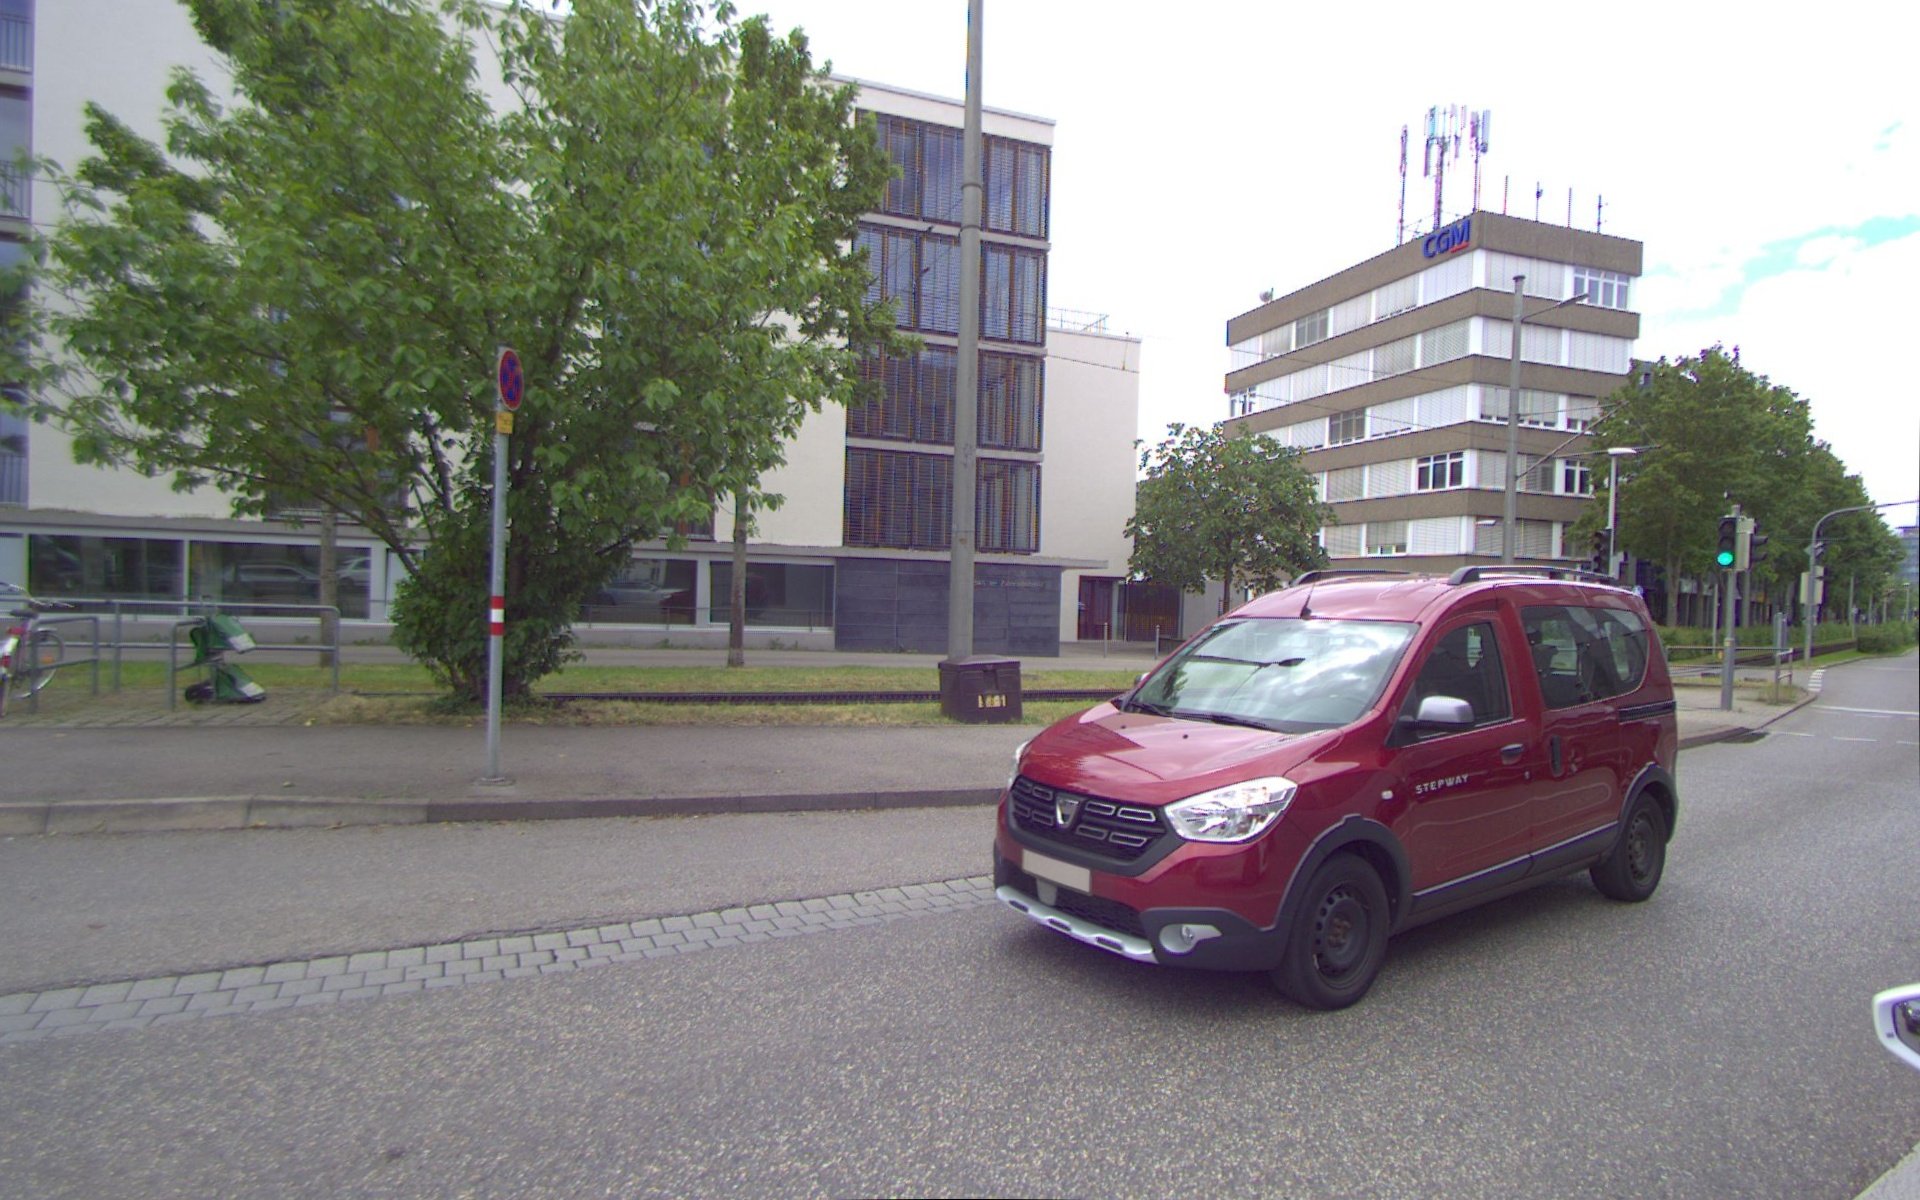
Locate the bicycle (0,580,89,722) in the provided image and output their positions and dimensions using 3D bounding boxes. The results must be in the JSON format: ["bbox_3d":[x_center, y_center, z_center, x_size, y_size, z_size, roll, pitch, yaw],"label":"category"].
[{"bbox_3d":[-8.192,0.403,8.921,0.403,1.103,1.695,1,2,-31],"label":"bicycle"}]

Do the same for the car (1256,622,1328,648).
[{"bbox_3d":[19.695,2.092,59.591,3.944,1.444,1.721,2,-2,-24],"label":"car"}]

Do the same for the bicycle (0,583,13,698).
[{"bbox_3d":[-8.874,0.408,8.585,0.401,1.060,1.747,1,2,-17],"label":"bicycle"}]

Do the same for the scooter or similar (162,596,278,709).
[{"bbox_3d":[-7.152,0.489,9.747,0.764,1.023,0.784,1,1,-27],"label":"scooter or similar"}]

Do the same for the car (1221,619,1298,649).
[{"bbox_3d":[14.311,1.623,48.284,1.616,1.377,3.985,1,-2,-17],"label":"car"}]

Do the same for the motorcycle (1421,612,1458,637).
[{"bbox_3d":[24.808,1.274,52.015,0.559,1.215,1.877,1,0,-19],"label":"motorcycle"}]

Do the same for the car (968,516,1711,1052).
[{"bbox_3d":[2.266,0.687,5.403,4.310,1.832,1.669,2,-1,-36],"label":"car"}]

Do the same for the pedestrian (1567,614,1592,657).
[{"bbox_3d":[25.481,1.453,41.311,0.677,1.728,0.681,1,-1,-42],"label":"pedestrian"}]

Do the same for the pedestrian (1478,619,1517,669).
[{"bbox_3d":[17.201,1.393,32.150,0.839,1.547,0.990,0,-1,44],"label":"pedestrian"}]
